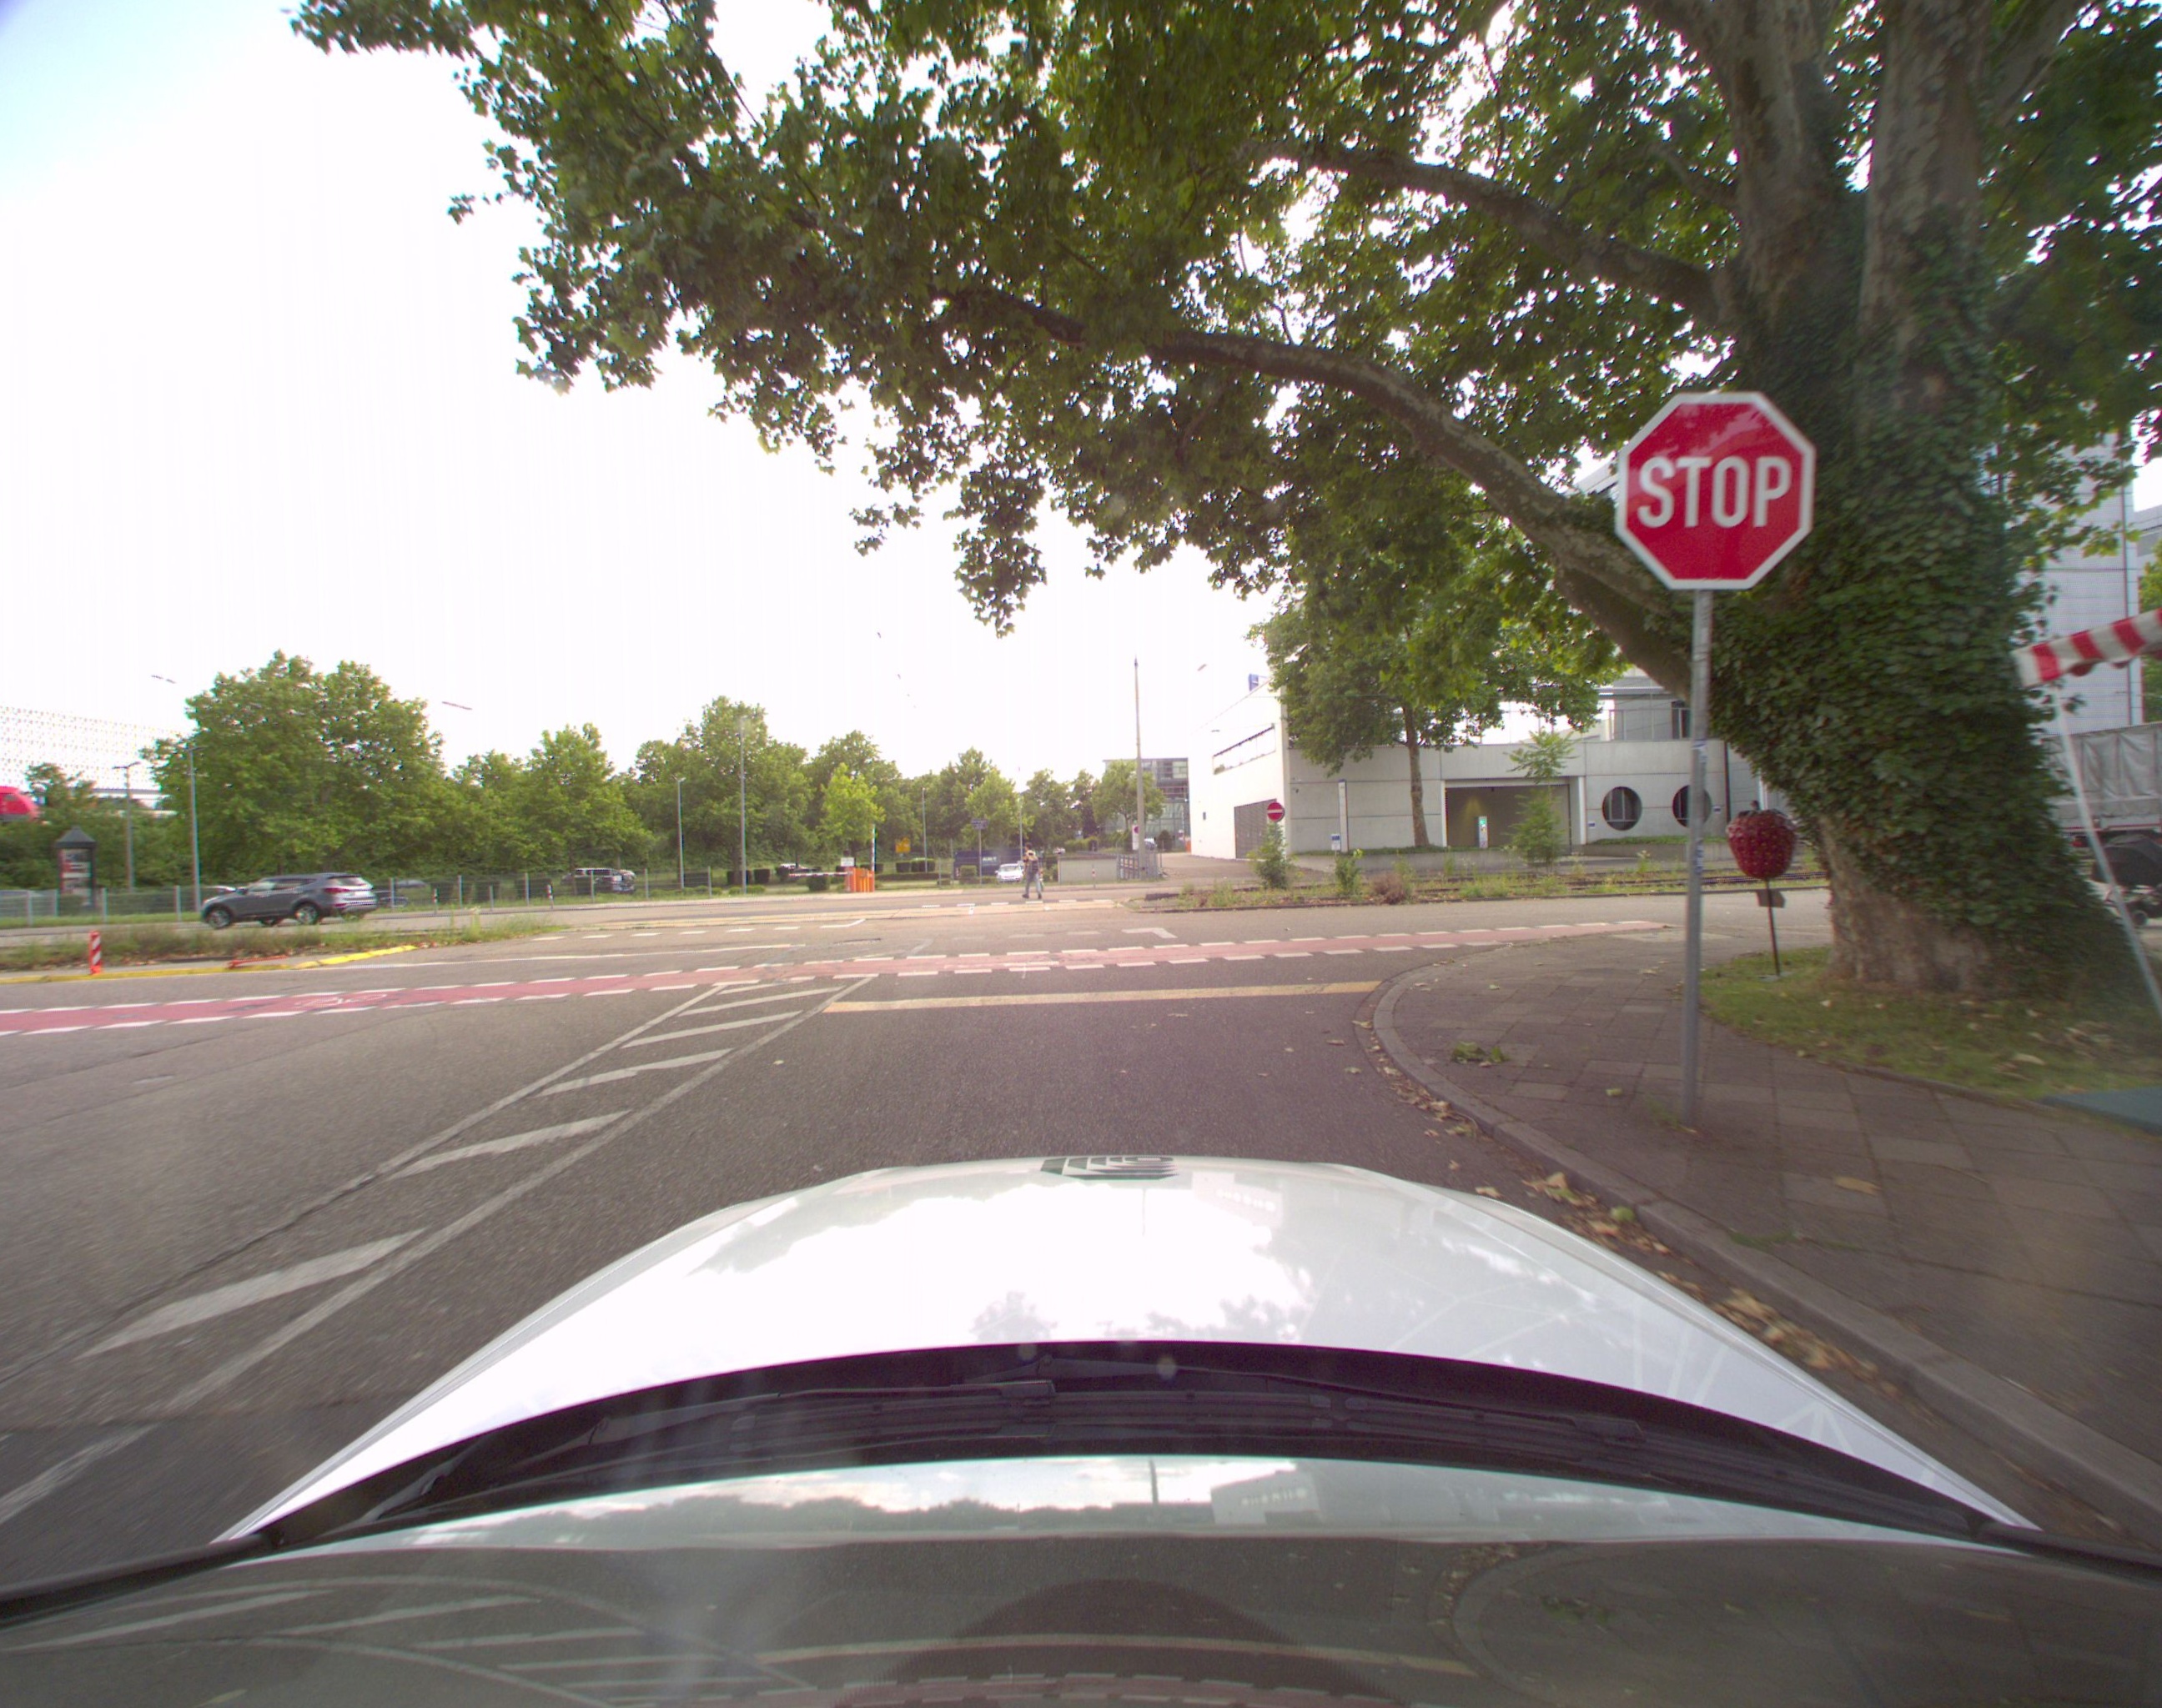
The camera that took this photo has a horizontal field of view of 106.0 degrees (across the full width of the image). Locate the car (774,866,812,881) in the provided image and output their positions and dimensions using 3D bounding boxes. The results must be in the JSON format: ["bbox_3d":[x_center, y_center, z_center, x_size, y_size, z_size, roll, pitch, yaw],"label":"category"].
[{"bbox_3d":[-36.374,2.460,102.831,1.896,1.721,4.326,-2,0,28],"label":"car"}]

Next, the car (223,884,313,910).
[{"bbox_3d":[-60.274,3.163,60.442,1.975,1.684,4.288,-2,0,27],"label":"car"}]

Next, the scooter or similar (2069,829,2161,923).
[{"bbox_3d":[14.075,0.273,10.912,1.024,1.199,0.644,-2,0,-11],"label":"scooter or similar"}]

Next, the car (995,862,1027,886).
[{"bbox_3d":[-4.679,1.324,54.966,1.927,1.403,4.076,-2,0,-3],"label":"car"}]

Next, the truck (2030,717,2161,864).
[{"bbox_3d":[33.127,-1.859,23.407,9.505,3.896,2.793,-2,0,-8],"label":"truck"}]

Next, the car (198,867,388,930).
[{"bbox_3d":[-26.424,1.460,27.457,4.253,1.815,1.966,-2,1,-4],"label":"car"}]

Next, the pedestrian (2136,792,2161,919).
[{"bbox_3d":[15.076,0.005,10.951,0.962,1.713,0.717,-2,0,-12],"label":"pedestrian"}]

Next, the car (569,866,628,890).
[{"bbox_3d":[-47.111,2.288,79.636,1.838,2.135,4.597,-2,0,27],"label":"car"}]

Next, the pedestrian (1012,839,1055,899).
[{"bbox_3d":[-1.538,0.468,26.223,1.005,1.849,1.220,-2,0,-22],"label":"pedestrian"}]

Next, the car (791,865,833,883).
[{"bbox_3d":[-27.898,2.068,84.457,3.950,1.701,1.921,-2,0,27],"label":"car"}]

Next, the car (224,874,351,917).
[{"bbox_3d":[-47.184,2.447,48.504,5.283,2.211,1.793,-2,0,-8],"label":"car"}]
